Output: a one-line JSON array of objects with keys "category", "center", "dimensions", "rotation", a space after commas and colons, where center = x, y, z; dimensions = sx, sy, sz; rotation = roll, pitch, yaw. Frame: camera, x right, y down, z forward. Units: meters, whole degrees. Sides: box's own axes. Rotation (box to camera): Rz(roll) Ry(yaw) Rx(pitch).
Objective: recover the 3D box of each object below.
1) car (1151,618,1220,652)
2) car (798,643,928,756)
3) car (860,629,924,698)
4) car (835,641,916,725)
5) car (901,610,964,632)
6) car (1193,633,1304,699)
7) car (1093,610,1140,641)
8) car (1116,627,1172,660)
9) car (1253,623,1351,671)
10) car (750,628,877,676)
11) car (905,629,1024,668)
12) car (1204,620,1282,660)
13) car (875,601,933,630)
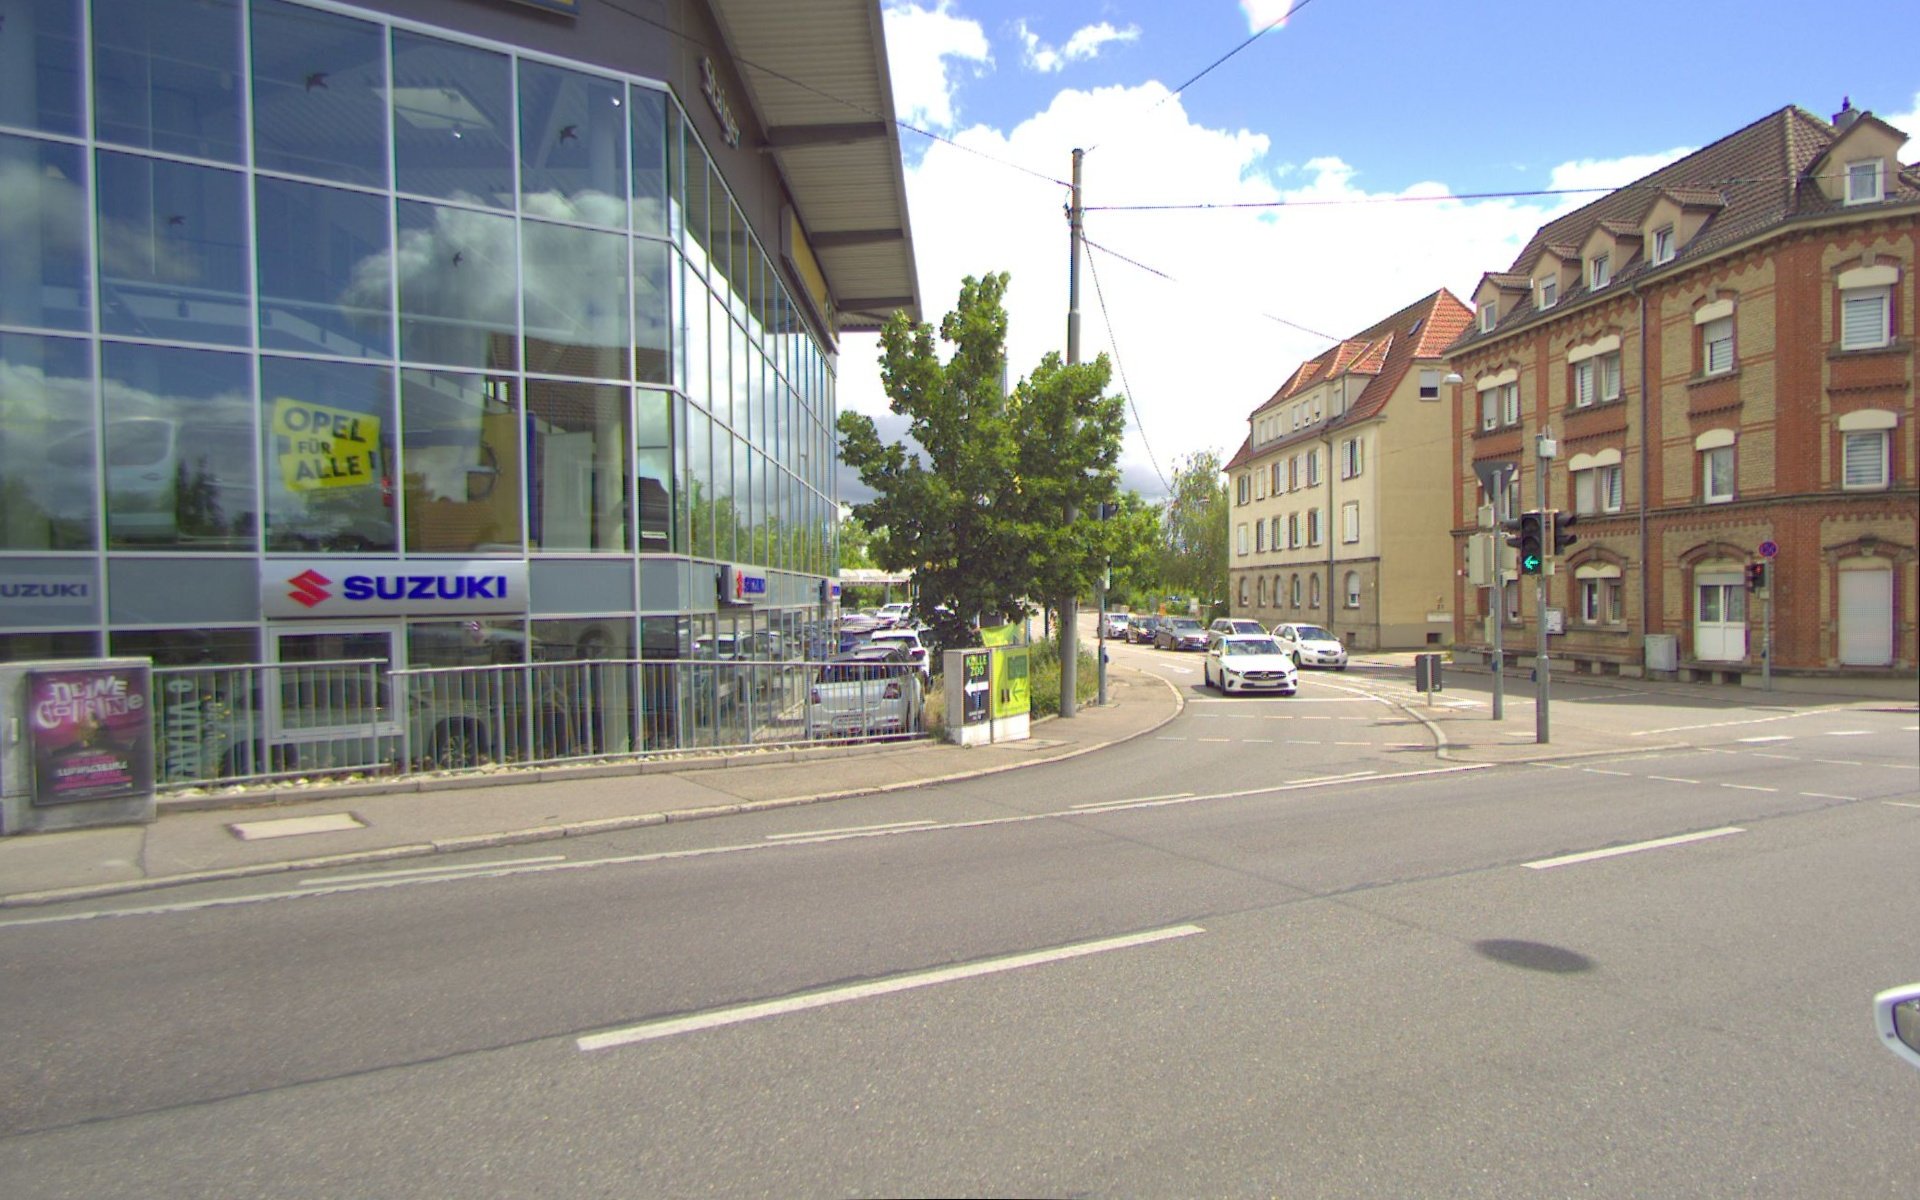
[{"category": "car", "center": [10.766, 1.650, 48.200], "dimensions": [1.963, 1.539, 3.996], "rotation": [1, -1, -7]}, {"category": "car", "center": [-1.581, 1.637, 17.610], "dimensions": [1.720, 1.596, 3.687], "rotation": [3, -1, 2]}, {"category": "car", "center": [-1.713, 1.608, 26.152], "dimensions": [1.487, 1.596, 3.414], "rotation": [1, -1, -2]}, {"category": "car", "center": [-1.754, 1.715, 21.758], "dimensions": [1.487, 1.543, 3.792], "rotation": [1, -1, -2]}, {"category": "car", "center": [-1.709, 1.314, 63.774], "dimensions": [3.921, 1.311, 1.818], "rotation": [1, -1, 0]}, {"category": "car", "center": [7.268, 1.617, 25.711], "dimensions": [1.825, 1.466, 4.393], "rotation": [-2, -2, 4]}, {"category": "car", "center": [9.479, 1.529, 61.103], "dimensions": [1.908, 1.743, 3.998], "rotation": [1, -1, -4]}, {"category": "car", "center": [9.766, 2.293, 53.634], "dimensions": [1.961, 1.607, 4.345], "rotation": [1, 0, -3]}, {"category": "car", "center": [11.935, 1.602, 35.315], "dimensions": [1.670, 1.517, 3.996], "rotation": [1, -1, -7]}, {"category": "car", "center": [-4.939, 1.728, 33.941], "dimensions": [3.919, 1.478, 1.605], "rotation": [1, -1, 15]}, {"category": "car", "center": [0.157, 1.640, 34.273], "dimensions": [3.921, 1.202, 1.818], "rotation": [1, -1, 0]}, {"category": "car", "center": [11.701, 1.628, 41.766], "dimensions": [1.715, 1.539, 3.996], "rotation": [1, -1, -7]}, {"category": "car", "center": [-4.056, 1.160, 73.092], "dimensions": [2.201, 2.040, 4.927], "rotation": [1, -1, 24]}]
